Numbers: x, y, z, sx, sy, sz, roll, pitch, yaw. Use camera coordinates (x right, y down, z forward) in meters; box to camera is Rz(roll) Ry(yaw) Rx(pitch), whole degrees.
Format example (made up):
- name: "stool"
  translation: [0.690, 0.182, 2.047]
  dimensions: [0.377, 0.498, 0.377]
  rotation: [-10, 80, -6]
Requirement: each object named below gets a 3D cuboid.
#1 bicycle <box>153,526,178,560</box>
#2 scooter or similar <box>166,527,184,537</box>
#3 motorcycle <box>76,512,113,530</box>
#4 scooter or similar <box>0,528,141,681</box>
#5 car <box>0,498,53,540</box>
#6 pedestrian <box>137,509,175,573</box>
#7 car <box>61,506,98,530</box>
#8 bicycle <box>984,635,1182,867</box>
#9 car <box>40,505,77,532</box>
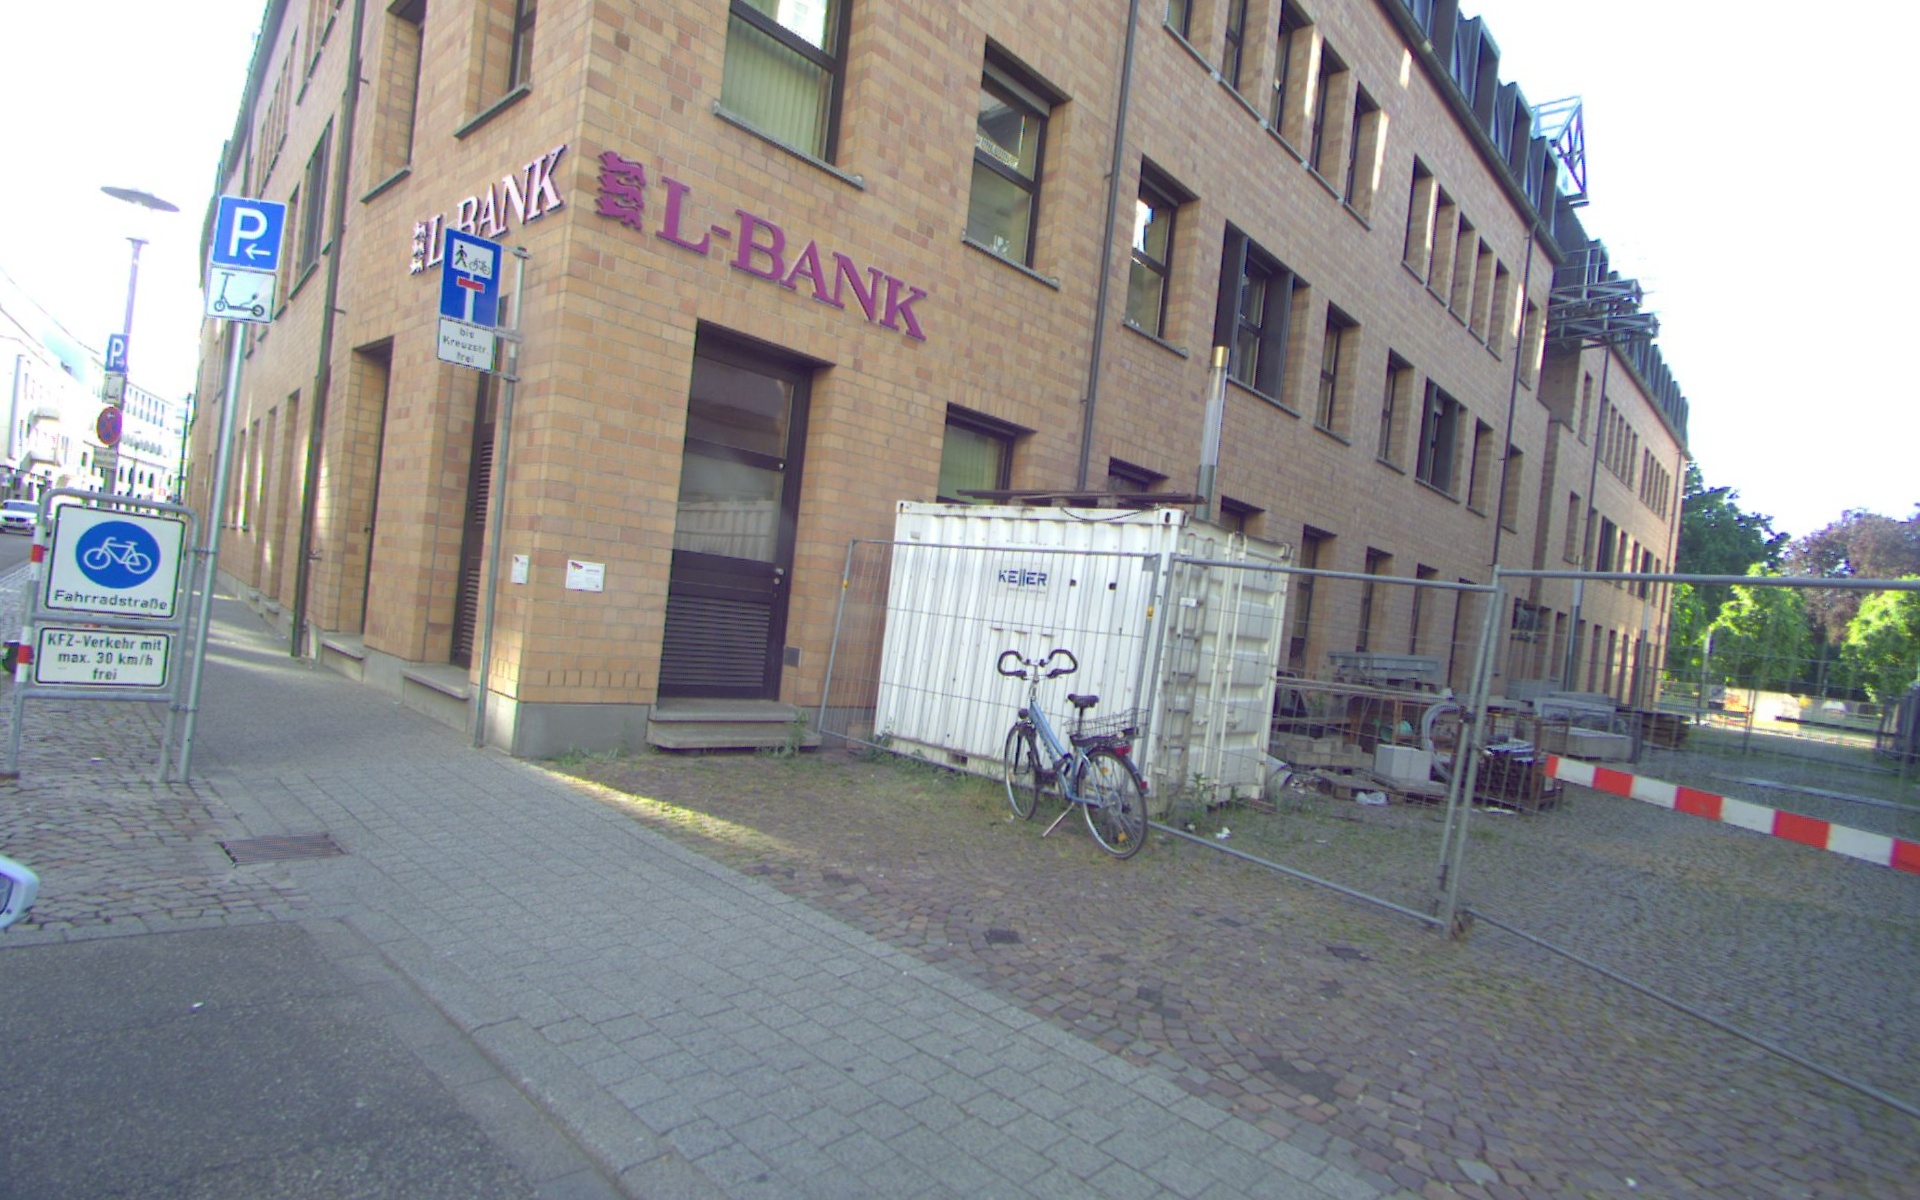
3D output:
- name: "bicycle"
  translation: [-27.937, -2.016, 35.357]
  dimensions: [0.547, 1.118, 1.958]
  rotation: [2, 3, -42]
- name: "scooter or similar"
  translation: [-94.662, -8.206, 121.354]
  dimensions: [0.518, 0.939, 2.226]
  rotation: [7, -1, -6]
- name: "motorcycle"
  translation: [-77.253, -7.026, 89.808]
  dimensions: [2.377, 1.334, 0.853]
  rotation: [5, 1, -37]
- name: "scooter or similar"
  translation: [-8.229, 0.029, 9.012]
  dimensions: [0.529, 1.250, 1.418]
  rotation: [7, 0, -3]
- name: "car"
  translation: [-39.691, -3.436, 42.555]
  dimensions: [1.707, 1.536, 4.114]
  rotation: [6, 0, -40]
- name: "pedestrian"
  translation: [-23.132, -1.691, 28.945]
  dimensions: [0.756, 1.739, 0.812]
  rotation: [3, 2, -40]
- name: "car"
  translation: [-70.774, -6.611, 80.898]
  dimensions: [1.727, 1.625, 3.498]
  rotation: [8, -1, -36]
- name: "bicycle"
  translation: [0.766, 0.940, 6.737]
  dimensions: [0.316, 1.265, 1.571]
  rotation: [6, 0, -29]
- name: "car"
  translation: [-60.215, -5.449, 67.239]
  dimensions: [1.632, 1.536, 4.114]
  rotation: [6, 0, -40]
